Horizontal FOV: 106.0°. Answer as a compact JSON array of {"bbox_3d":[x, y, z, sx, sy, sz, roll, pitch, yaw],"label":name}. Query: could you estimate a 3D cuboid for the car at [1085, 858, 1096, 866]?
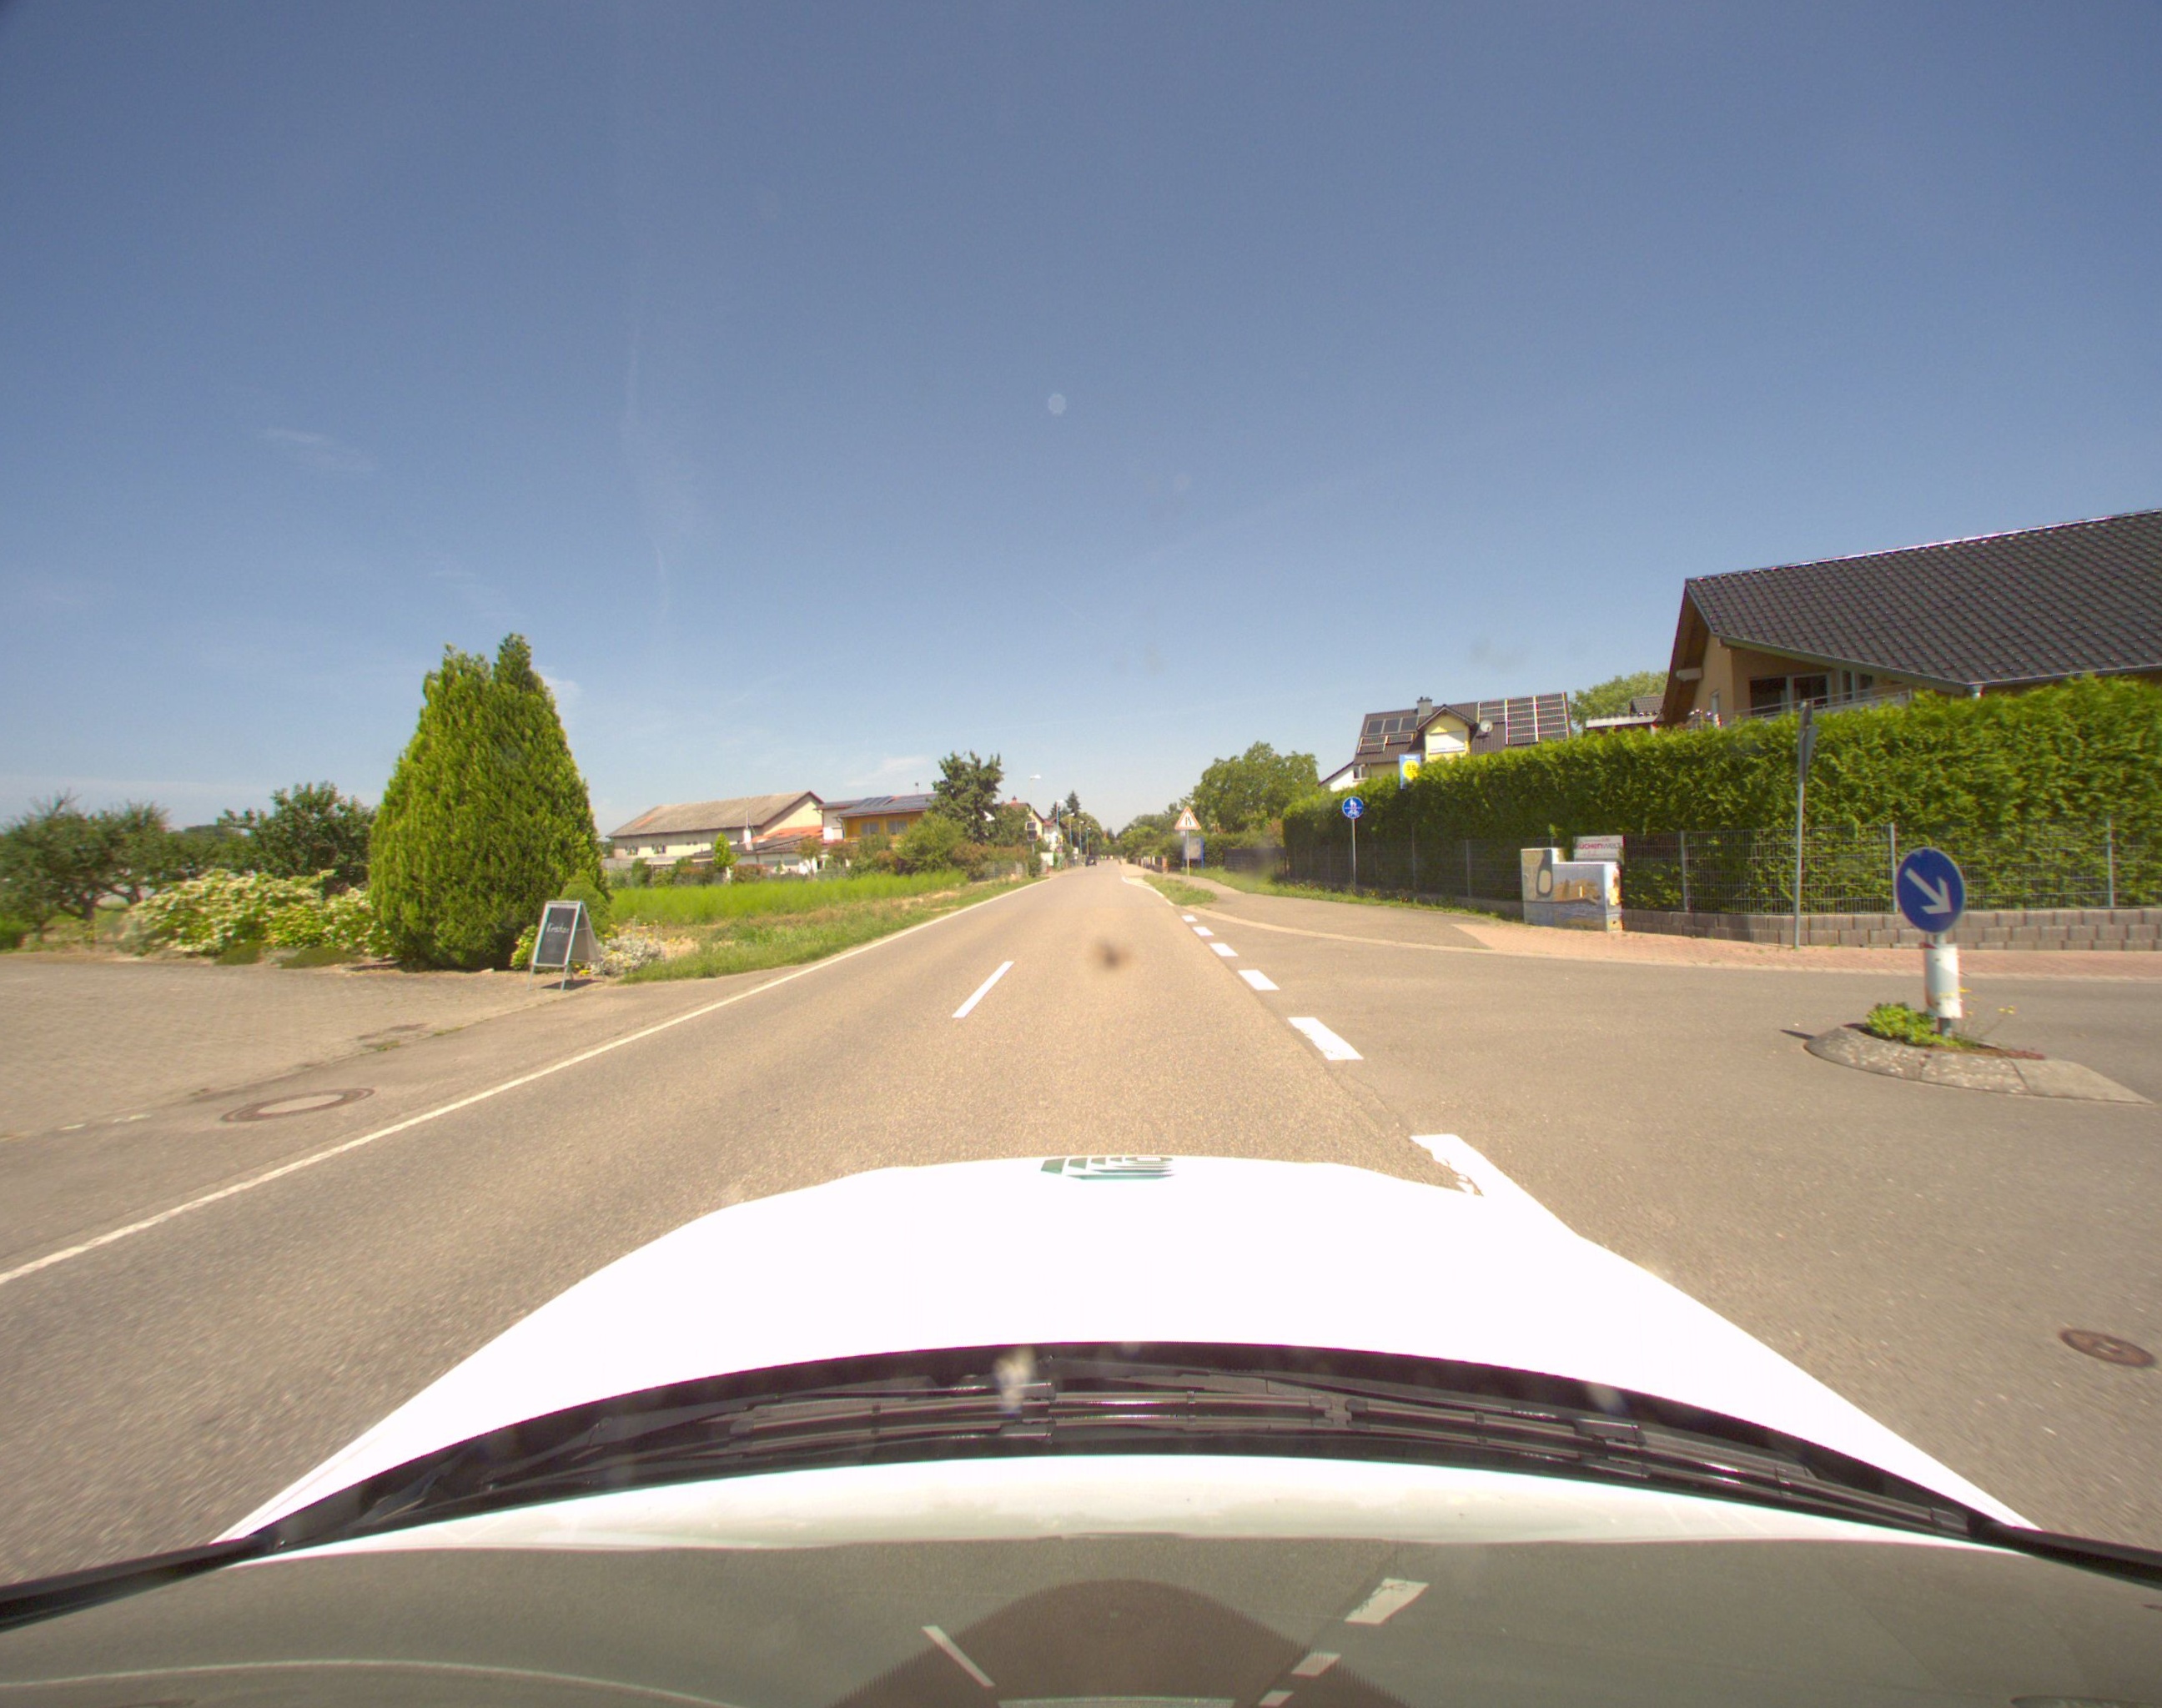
[{"bbox_3d":[1.639,1.357,140.919,1.752,1.385,3.454,-3,0,2],"label":"car"}]
